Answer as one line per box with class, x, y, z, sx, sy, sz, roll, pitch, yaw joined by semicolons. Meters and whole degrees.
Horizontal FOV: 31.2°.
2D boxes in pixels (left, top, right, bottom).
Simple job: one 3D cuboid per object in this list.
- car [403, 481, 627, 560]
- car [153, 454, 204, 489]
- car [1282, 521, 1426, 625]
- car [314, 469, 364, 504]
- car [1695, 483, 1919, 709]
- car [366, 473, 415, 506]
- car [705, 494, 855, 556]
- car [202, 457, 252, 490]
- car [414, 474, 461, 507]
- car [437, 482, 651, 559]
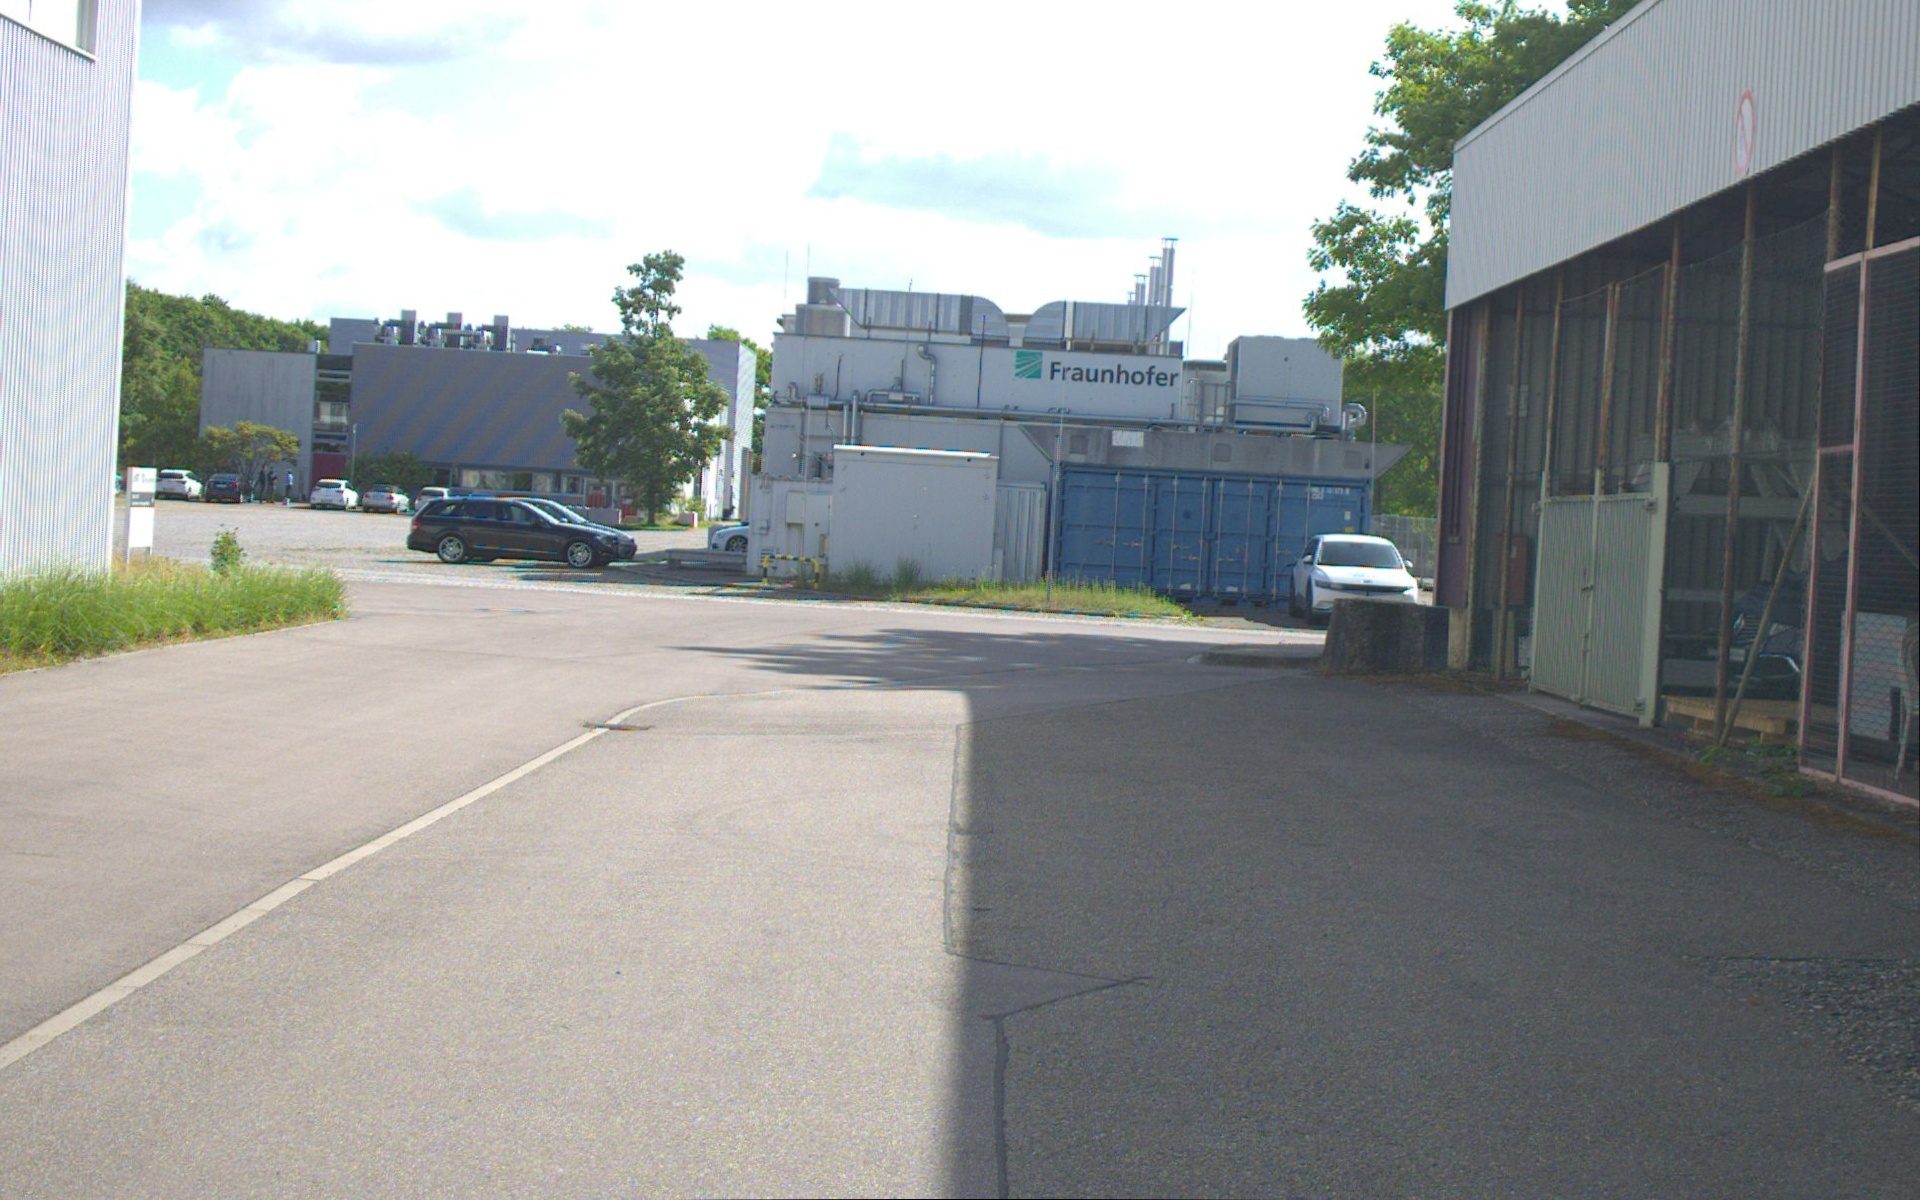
car;-9.619;-1.713;74.543;4.529;1.438;1.987;3;0;0
car;-38.964;-6.408;171.465;1.846;1.663;4.134;1;1;-5
car;7.054;-0.512;61.875;1.981;1.588;4.341;4;3;0
car;-30.959;-5.653;171.565;1.877;1.684;4.036;2;1;-2
car;9.630;0.043;31.395;5.164;1.911;2.279;3;1;-5
car;-28.394;-5.504;171.402;1.877;1.532;4.036;2;1;-2
car;-5.323;-2.229;102.265;4.279;1.564;1.987;3;0;0
car;-36.512;-6.273;171.336;1.877;1.532;4.036;1;1;-5
car;-26.067;-5.445;171.613;1.877;1.532;4.036;2;1;-2
car;-9.383;-1.785;77.800;4.529;1.438;1.904;3;0;0
